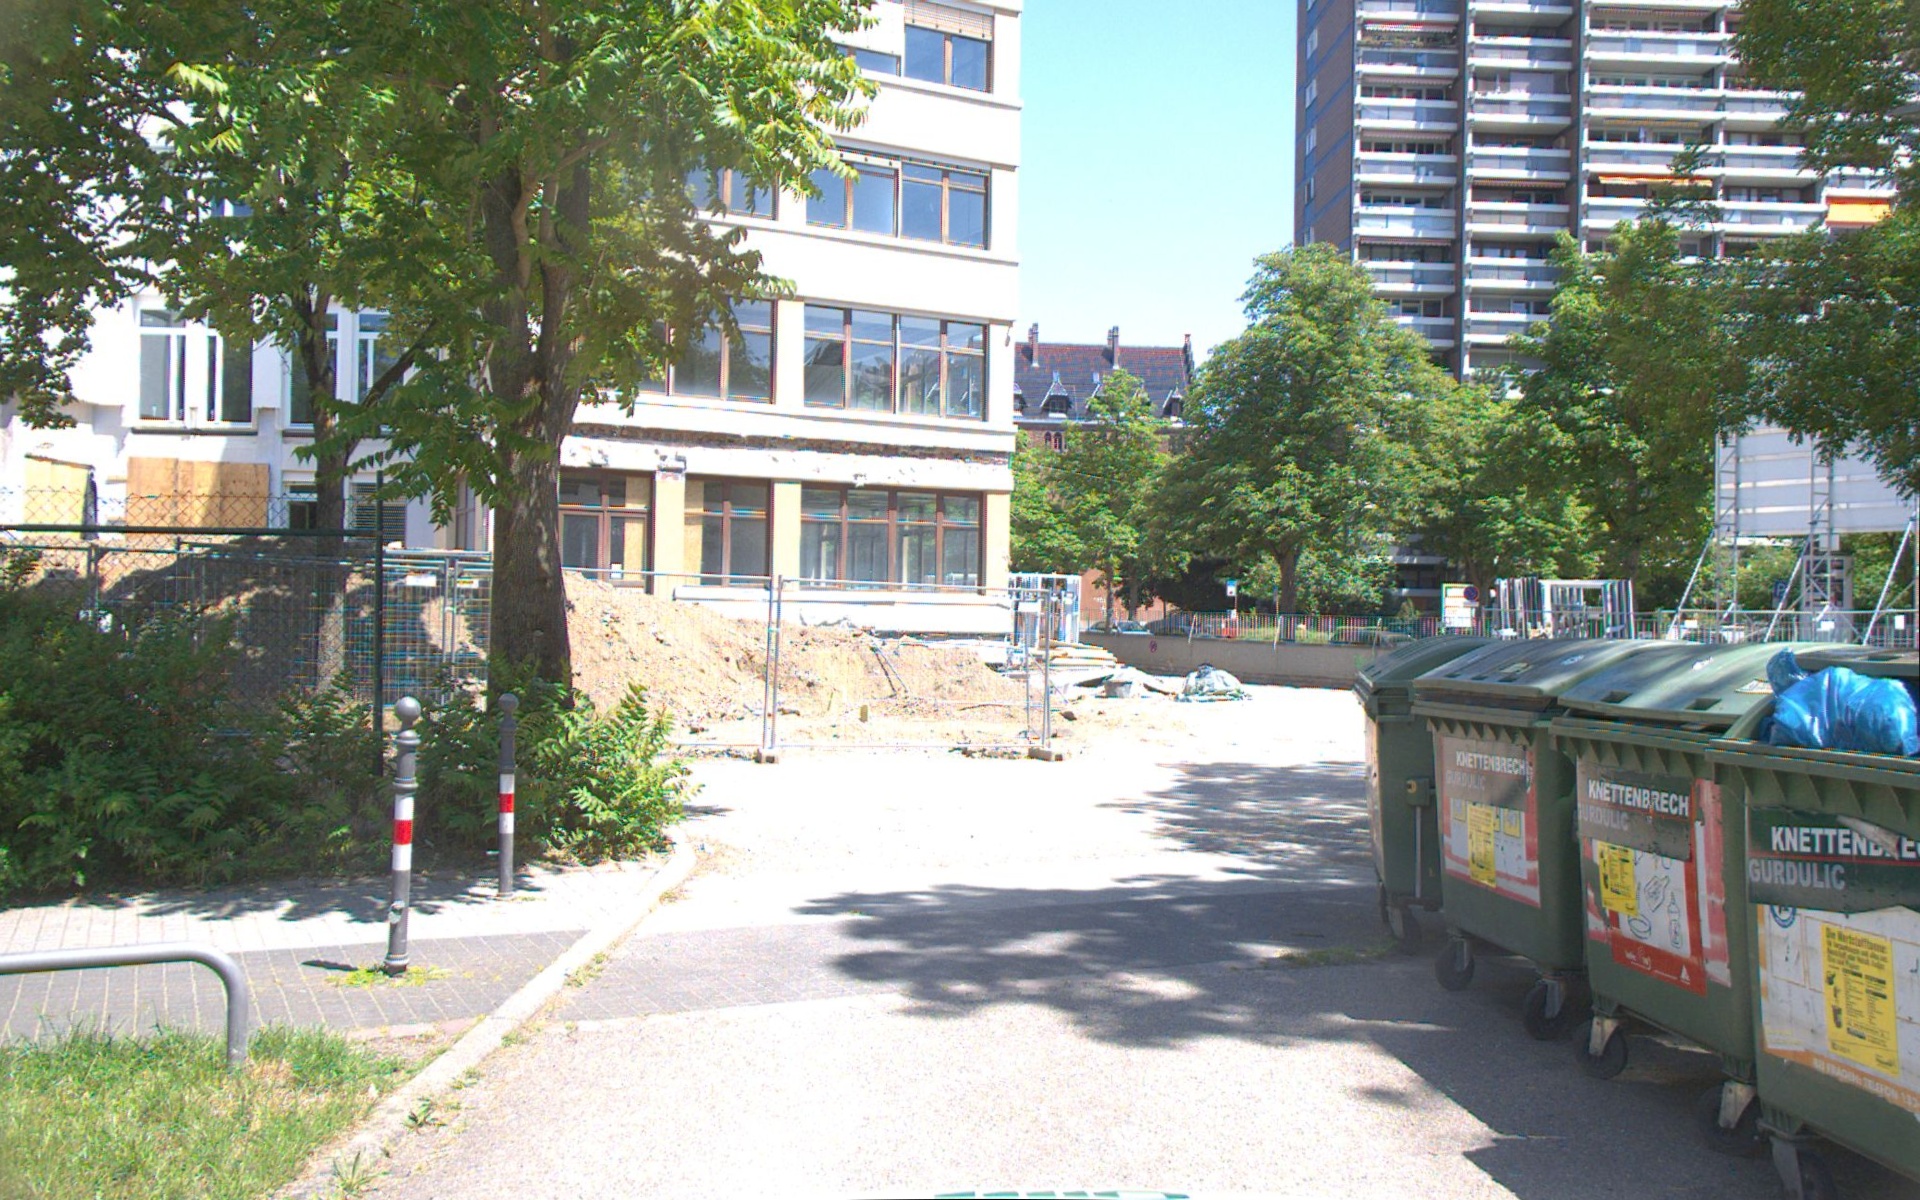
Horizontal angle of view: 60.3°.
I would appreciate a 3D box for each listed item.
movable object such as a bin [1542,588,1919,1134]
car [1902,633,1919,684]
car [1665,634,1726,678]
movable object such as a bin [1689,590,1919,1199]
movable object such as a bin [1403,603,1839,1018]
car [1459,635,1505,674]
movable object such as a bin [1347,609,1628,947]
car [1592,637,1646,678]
[{"bbox_3d":[2.697,0.748,5.258,1.156,1.495,1.310,2,-2,-5],"label":"movable object such as a bin"},{"bbox_3d":[28.898,1.730,48.130,1.598,1.489,3.680,1,-1,13],"label":"car"},{"bbox_3d":[25.137,1.904,56.608,1.599,1.411,3.679,1,-1,19],"label":"car"},{"bbox_3d":[2.617,0.748,3.871,1.156,1.495,1.309,2,-2,-7],"label":"movable object such as a bin"},{"bbox_3d":[2.603,0.790,6.697,1.156,1.495,1.309,2,-2,-6],"label":"movable object such as a bin"},{"bbox_3d":[20.345,2.108,64.399,1.599,1.411,3.679,1,-1,19],"label":"car"},{"bbox_3d":[2.563,0.824,8.235,1.154,1.495,1.334,1,-2,10],"label":"movable object such as a bin"},{"bbox_3d":[23.755,2.050,59.689,1.599,1.411,3.679,1,-1,19],"label":"car"}]
